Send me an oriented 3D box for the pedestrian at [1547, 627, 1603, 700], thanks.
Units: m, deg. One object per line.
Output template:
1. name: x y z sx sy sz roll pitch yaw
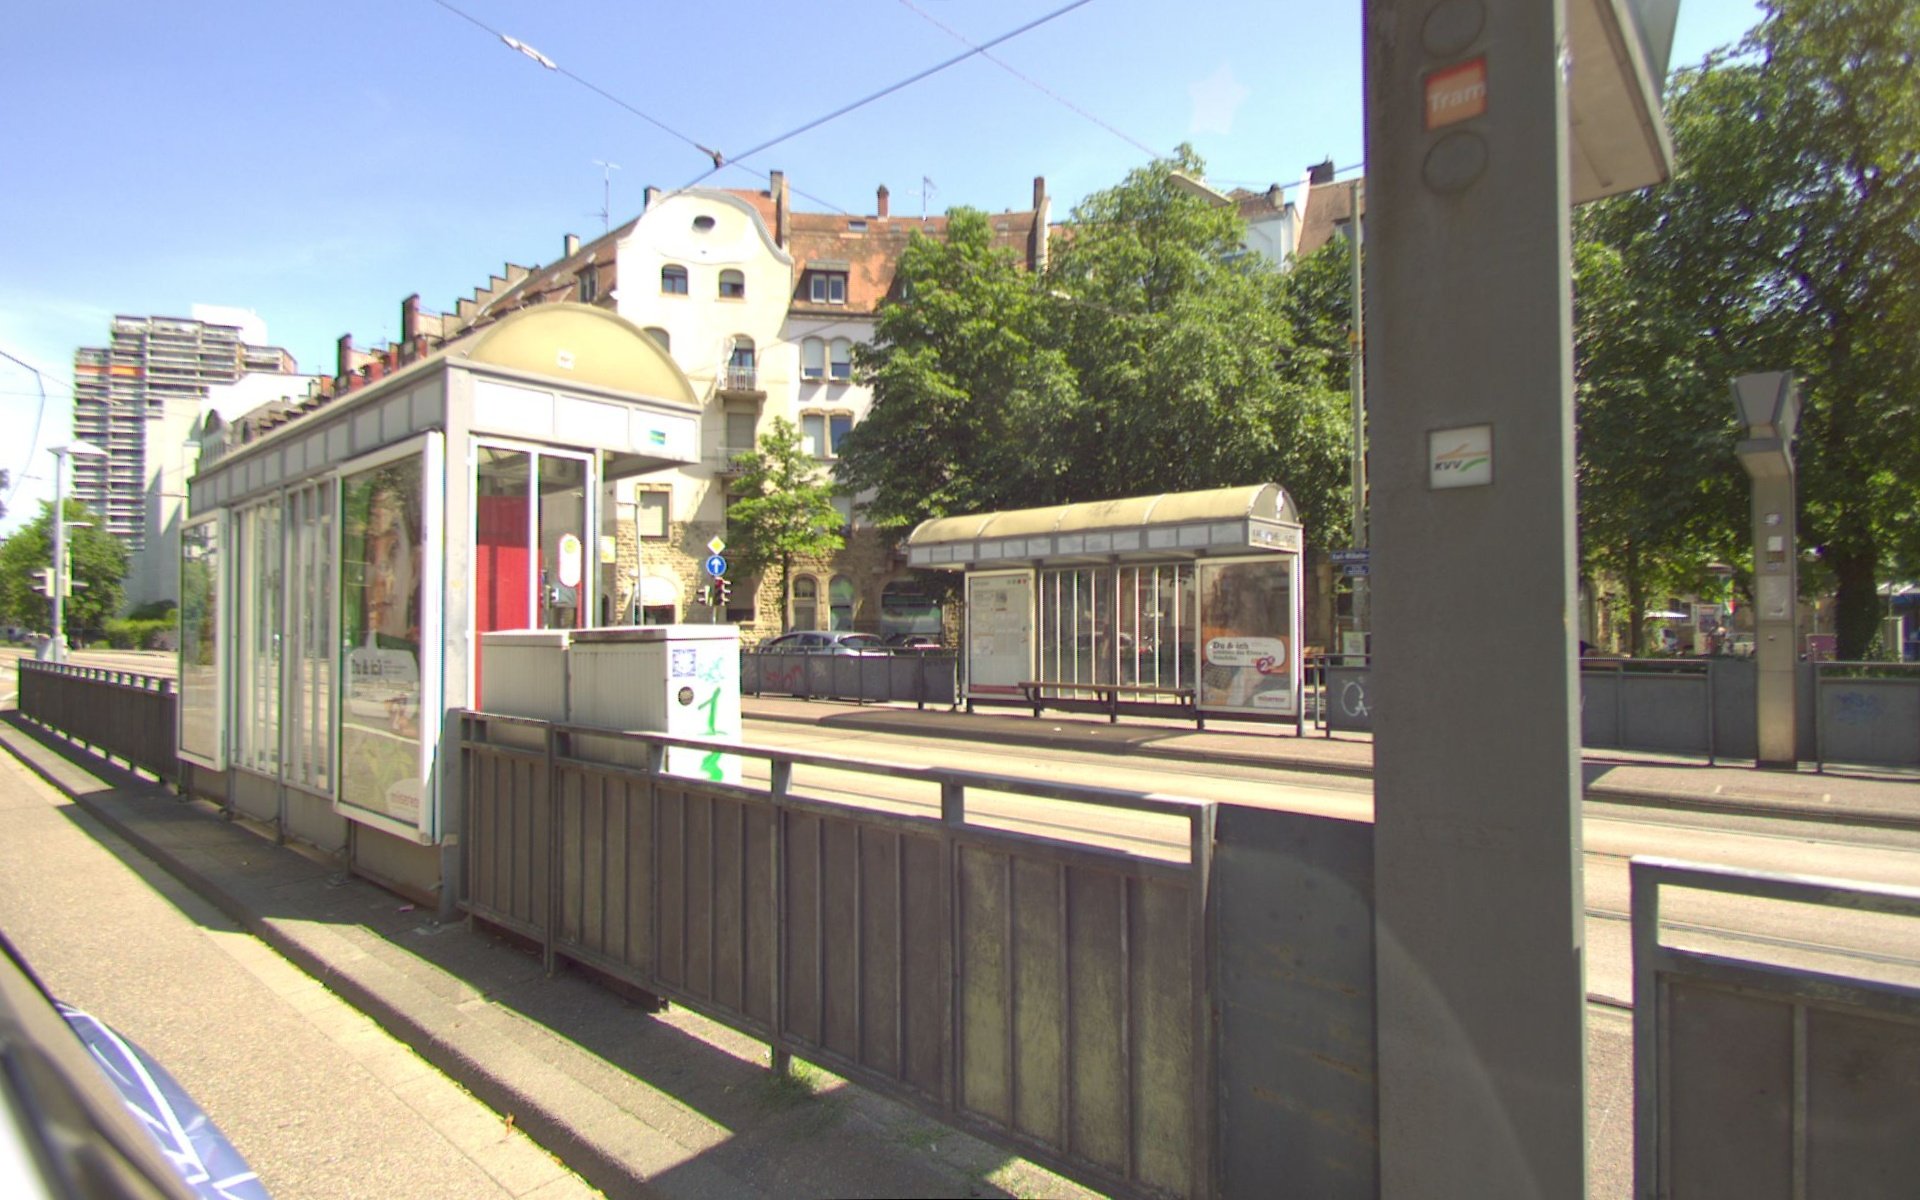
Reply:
1. pedestrian: 11.252 1.157 18.533 0.637 1.297 0.618 0 -1 2

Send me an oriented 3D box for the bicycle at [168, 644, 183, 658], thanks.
1. bicycle: -54.443 3.537 70.241 1.953 0.955 0.457 -2 -2 42

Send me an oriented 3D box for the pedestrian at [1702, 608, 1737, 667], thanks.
1. pedestrian: 26.603 1.306 35.440 0.800 2.029 0.717 1 -2 -33

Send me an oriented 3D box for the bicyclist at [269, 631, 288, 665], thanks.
1. bicyclist: -32.738 2.306 48.612 0.585 1.586 0.602 -1 -1 41

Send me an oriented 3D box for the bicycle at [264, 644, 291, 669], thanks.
1. bicycle: -32.849 2.695 48.711 1.977 1.166 0.621 -2 -2 42

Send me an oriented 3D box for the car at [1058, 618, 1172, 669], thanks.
1. car: 5.071 1.393 33.036 3.554 1.587 1.575 -1 -1 15

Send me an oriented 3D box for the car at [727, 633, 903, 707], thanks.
1. car: -3.051 1.379 20.898 3.716 1.349 1.525 -1 -1 40

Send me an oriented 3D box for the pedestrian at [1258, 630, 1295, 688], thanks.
1. pedestrian: 7.046 1.318 22.574 0.637 1.265 0.549 0 -1 2

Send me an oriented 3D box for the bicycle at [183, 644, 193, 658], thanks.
1. bicycle: -51.332 3.365 67.272 1.614 0.924 0.250 -2 -2 42

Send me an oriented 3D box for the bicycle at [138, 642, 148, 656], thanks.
1. bicycle: -63.628 3.791 78.788 1.899 1.054 0.286 -1 -1 42

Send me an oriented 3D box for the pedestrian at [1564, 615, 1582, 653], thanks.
1. pedestrian: 26.455 1.457 43.686 0.560 1.635 0.507 -1 -1 41

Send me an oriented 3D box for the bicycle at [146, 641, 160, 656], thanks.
1. bicycle: -60.342 3.597 75.685 2.046 1.105 0.487 -2 -2 42

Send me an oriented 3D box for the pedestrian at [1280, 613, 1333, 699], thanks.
1. pedestrian: 6.699 1.067 19.542 0.772 1.618 0.673 -1 -1 38

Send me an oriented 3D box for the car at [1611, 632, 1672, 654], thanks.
1. car: 28.412 1.792 42.227 1.899 0.872 0.856 -1 -1 17

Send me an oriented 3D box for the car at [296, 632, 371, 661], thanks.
1. car: -35.299 2.584 57.056 3.315 1.483 1.531 0 -1 -45
